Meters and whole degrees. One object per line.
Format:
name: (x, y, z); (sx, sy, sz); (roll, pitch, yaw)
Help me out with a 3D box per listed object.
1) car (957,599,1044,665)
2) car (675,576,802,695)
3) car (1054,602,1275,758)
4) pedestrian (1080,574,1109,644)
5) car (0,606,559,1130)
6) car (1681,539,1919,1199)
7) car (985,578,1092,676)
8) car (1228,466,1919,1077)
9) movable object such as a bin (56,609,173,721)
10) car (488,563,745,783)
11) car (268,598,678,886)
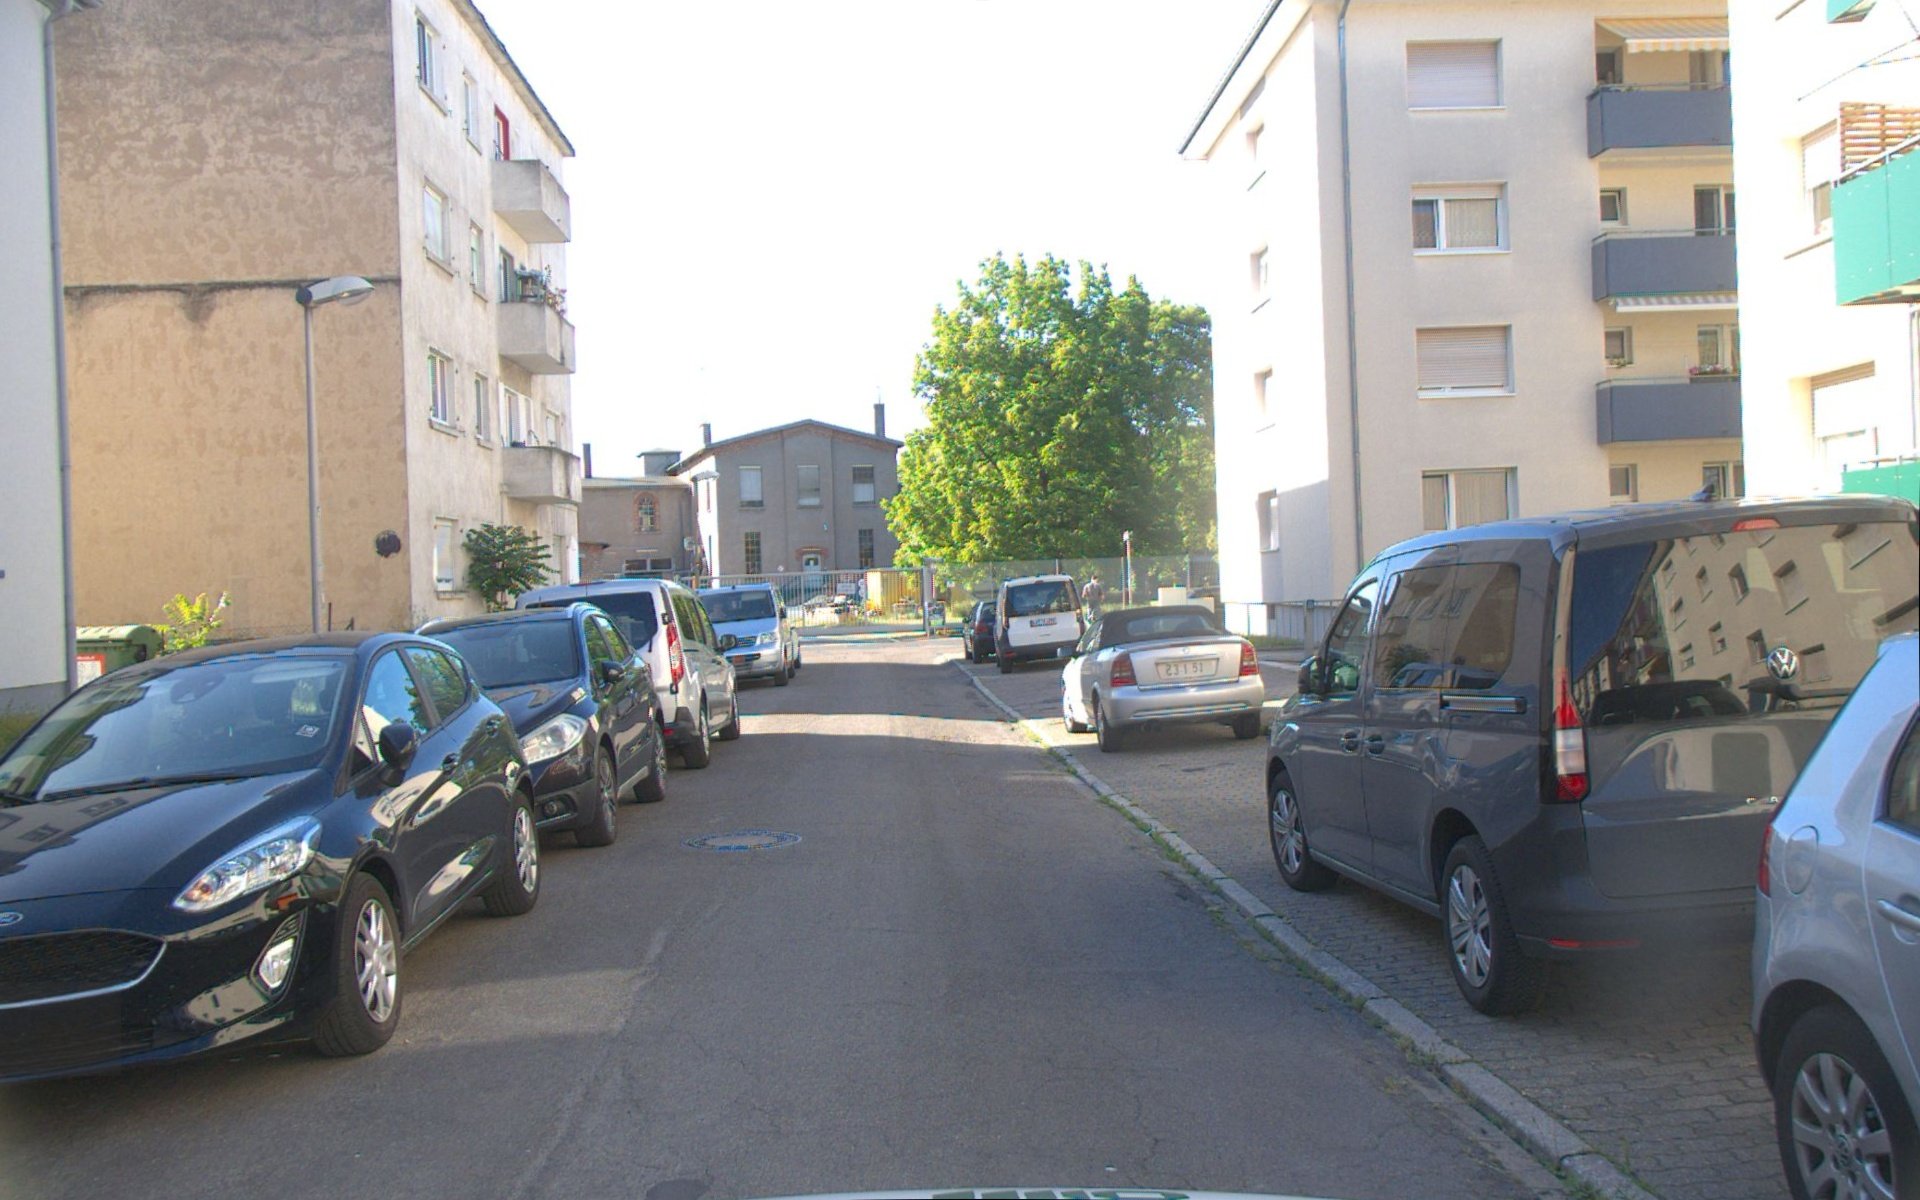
car: (0.923, 0.739, 39.547); (1.730, 1.386, 4.092); (-4, 0, -3)
car: (-4.279, 0.665, 32.565); (1.954, 2.048, 4.451); (-4, 0, -3)
car: (2.105, 0.792, 18.096); (1.683, 1.388, 4.053); (-4, 0, -2)
pedestrian: (3.688, 0.246, 45.435); (0.640, 1.847, 0.614); (-4, -1, 7)
car: (-2.889, 0.828, 6.780); (1.626, 1.468, 3.869); (-4, 0, -3)
car: (2.781, 0.636, 2.275); (1.648, 1.615, 4.011); (-3, 0, -2)
car: (1.560, 0.531, 34.112); (1.730, 1.769, 4.092); (-4, 0, -3)
car: (2.658, 0.560, 7.500); (1.859, 1.888, 4.340); (-3, -1, -4)
movable object such as a bin: (-12.782, 0.966, 25.047); (1.047, 1.566, 1.356); (-4, 0, -5)
car: (-3.366, 0.683, 17.015); (1.859, 1.888, 4.192); (-3, -1, -3)
car: (-3.172, 0.838, 11.644); (1.796, 1.541, 3.997); (-4, 0, -3)
